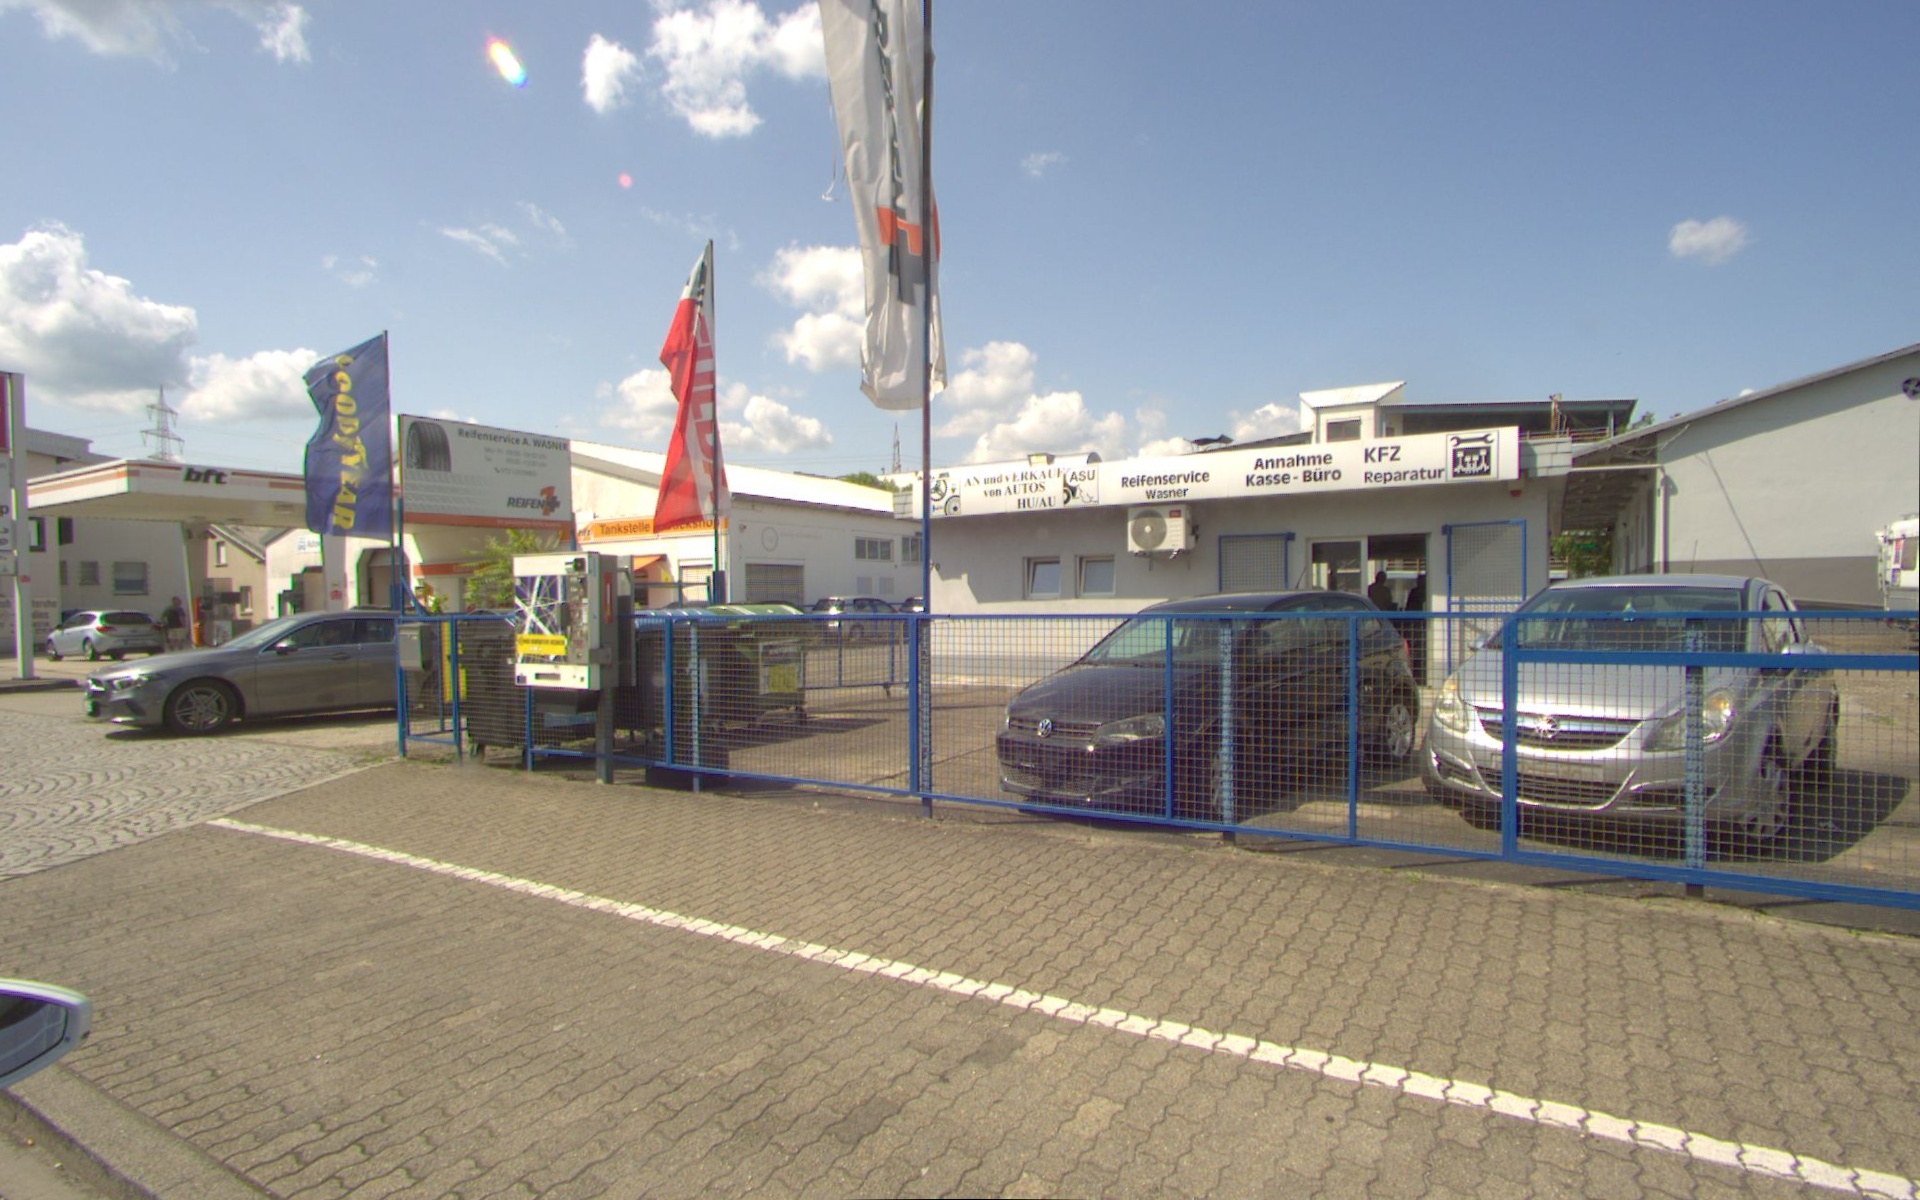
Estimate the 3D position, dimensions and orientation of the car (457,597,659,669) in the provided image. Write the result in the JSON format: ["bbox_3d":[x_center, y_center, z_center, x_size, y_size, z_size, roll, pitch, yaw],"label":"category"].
[{"bbox_3d":[-9.167,0.689,23.166,1.564,1.482,4.187,0,0,33],"label":"car"}]

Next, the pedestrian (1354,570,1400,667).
[{"bbox_3d":[7.350,0.318,17.648,0.654,1.671,0.563,0,1,34],"label":"pedestrian"}]

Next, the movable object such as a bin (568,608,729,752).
[{"bbox_3d":[-3.328,0.801,10.740,1.225,1.415,1.106,0,1,31],"label":"movable object such as a bin"}]

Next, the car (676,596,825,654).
[{"bbox_3d":[-5.720,0.642,27.821,1.564,1.482,4.187,0,0,33],"label":"car"}]

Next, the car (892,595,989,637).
[{"bbox_3d":[-0.642,0.535,35.738,1.564,1.385,3.860,0,0,33],"label":"car"}]

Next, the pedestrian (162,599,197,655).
[{"bbox_3d":[-23.778,0.803,30.518,0.698,1.679,0.546,-1,1,-22],"label":"pedestrian"}]

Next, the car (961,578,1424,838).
[{"bbox_3d":[1.891,0.600,7.492,3.655,1.472,1.625,-1,0,-43],"label":"car"}]

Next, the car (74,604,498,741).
[{"bbox_3d":[-8.453,0.792,12.902,1.654,1.434,4.252,0,0,40],"label":"car"}]

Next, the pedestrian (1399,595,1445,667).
[{"bbox_3d":[8.044,0.531,17.441,0.654,1.225,0.563,0,1,34],"label":"pedestrian"}]

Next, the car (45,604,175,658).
[{"bbox_3d":[-25.739,0.903,30.308,3.776,1.523,1.803,-1,0,30],"label":"car"}]

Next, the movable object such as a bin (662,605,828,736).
[{"bbox_3d":[-2.535,0.782,11.905,1.318,1.414,1.400,0,1,31],"label":"movable object such as a bin"}]

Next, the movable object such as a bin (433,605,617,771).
[{"bbox_3d":[-4.161,0.785,9.609,1.225,1.455,1.106,0,1,31],"label":"movable object such as a bin"}]

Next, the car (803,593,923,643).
[{"bbox_3d":[-3.017,0.528,32.053,1.564,1.482,4.187,0,0,33],"label":"car"}]

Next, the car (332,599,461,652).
[{"bbox_3d":[-17.311,0.749,30.726,3.777,1.523,1.803,-1,0,31],"label":"car"}]

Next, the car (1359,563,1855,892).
[{"bbox_3d":[4.271,0.559,6.383,3.729,1.472,1.757,-1,0,-42],"label":"car"}]

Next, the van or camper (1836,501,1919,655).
[{"bbox_3d":[21.013,-0.455,19.532,5.571,3.005,2.264,0,1,31],"label":"van or camper"}]
